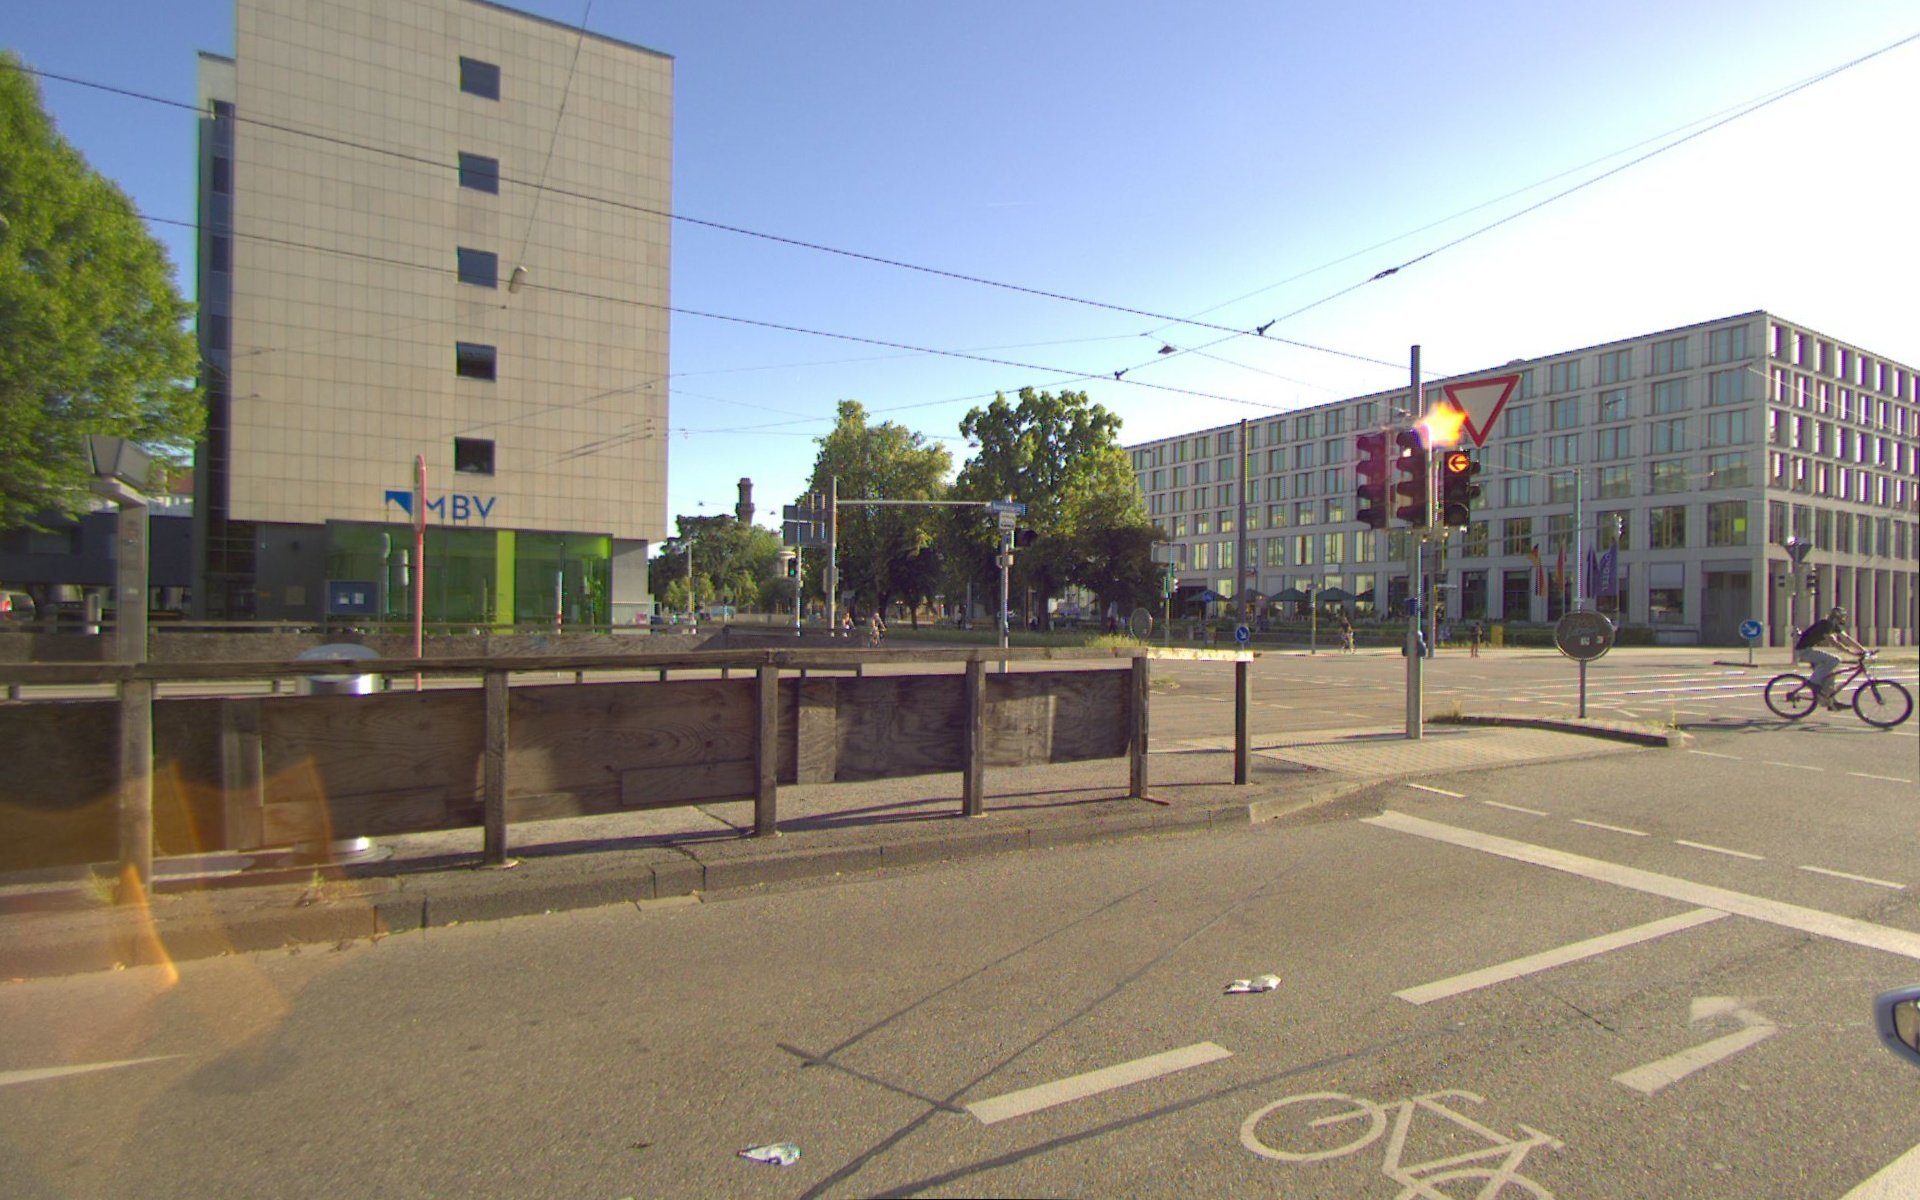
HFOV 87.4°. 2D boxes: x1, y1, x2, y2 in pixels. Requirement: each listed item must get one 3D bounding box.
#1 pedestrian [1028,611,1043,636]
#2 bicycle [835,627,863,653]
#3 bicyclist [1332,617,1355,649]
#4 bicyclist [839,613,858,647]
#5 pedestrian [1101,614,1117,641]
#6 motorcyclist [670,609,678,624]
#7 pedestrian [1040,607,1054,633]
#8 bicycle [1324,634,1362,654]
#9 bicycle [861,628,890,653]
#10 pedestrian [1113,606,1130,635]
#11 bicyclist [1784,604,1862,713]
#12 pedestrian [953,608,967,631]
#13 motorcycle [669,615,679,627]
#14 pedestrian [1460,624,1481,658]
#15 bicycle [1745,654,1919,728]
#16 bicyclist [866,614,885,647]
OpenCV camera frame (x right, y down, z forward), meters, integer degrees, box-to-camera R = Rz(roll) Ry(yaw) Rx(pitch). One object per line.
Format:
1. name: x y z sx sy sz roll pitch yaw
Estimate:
1. pedestrian: 5.928 1.854 79.080 0.862 1.925 0.714 2 0 -23
2. bicycle: -5.177 1.849 46.638 0.574 1.148 1.776 1 -1 -31
3. bicyclist: 19.226 1.660 50.380 0.767 1.610 0.757 2 -1 -25
4. bicyclist: -5.179 1.383 46.647 0.647 1.544 0.615 1 -1 -32
5. pedestrian: 10.680 1.962 71.946 0.862 1.925 0.714 2 0 -22
6. motorcyclist: -28.838 1.666 101.398 0.561 1.598 0.642 1 -1 -34
7. pedestrian: 6.896 1.557 79.583 0.812 2.040 0.841 2 0 -21
8. bicycle: 19.200 2.195 50.361 1.839 0.947 0.758 1 -1 -26
9. bicycle: -3.956 1.884 46.937 0.616 1.148 1.869 1 -1 -31
10. pedestrian: 11.607 1.470 72.221 0.812 2.040 0.841 2 0 -20
11. bicyclist: 12.696 0.842 14.782 0.600 1.544 0.758 1 -1 -34
12. pedestrian: 0.005 1.711 89.702 0.817 2.040 0.836 2 0 -36
13. motorcycle: -28.904 2.121 101.459 0.524 1.153 1.449 1 -1 -34
14. pedestrian: 24.947 1.997 49.081 0.586 1.610 0.768 1 -1 -40
15. bicycle: 12.691 1.297 14.682 0.554 0.947 1.846 1 -1 -34
16. bicyclist: -3.947 1.418 46.934 0.602 1.544 0.709 1 -1 -32
